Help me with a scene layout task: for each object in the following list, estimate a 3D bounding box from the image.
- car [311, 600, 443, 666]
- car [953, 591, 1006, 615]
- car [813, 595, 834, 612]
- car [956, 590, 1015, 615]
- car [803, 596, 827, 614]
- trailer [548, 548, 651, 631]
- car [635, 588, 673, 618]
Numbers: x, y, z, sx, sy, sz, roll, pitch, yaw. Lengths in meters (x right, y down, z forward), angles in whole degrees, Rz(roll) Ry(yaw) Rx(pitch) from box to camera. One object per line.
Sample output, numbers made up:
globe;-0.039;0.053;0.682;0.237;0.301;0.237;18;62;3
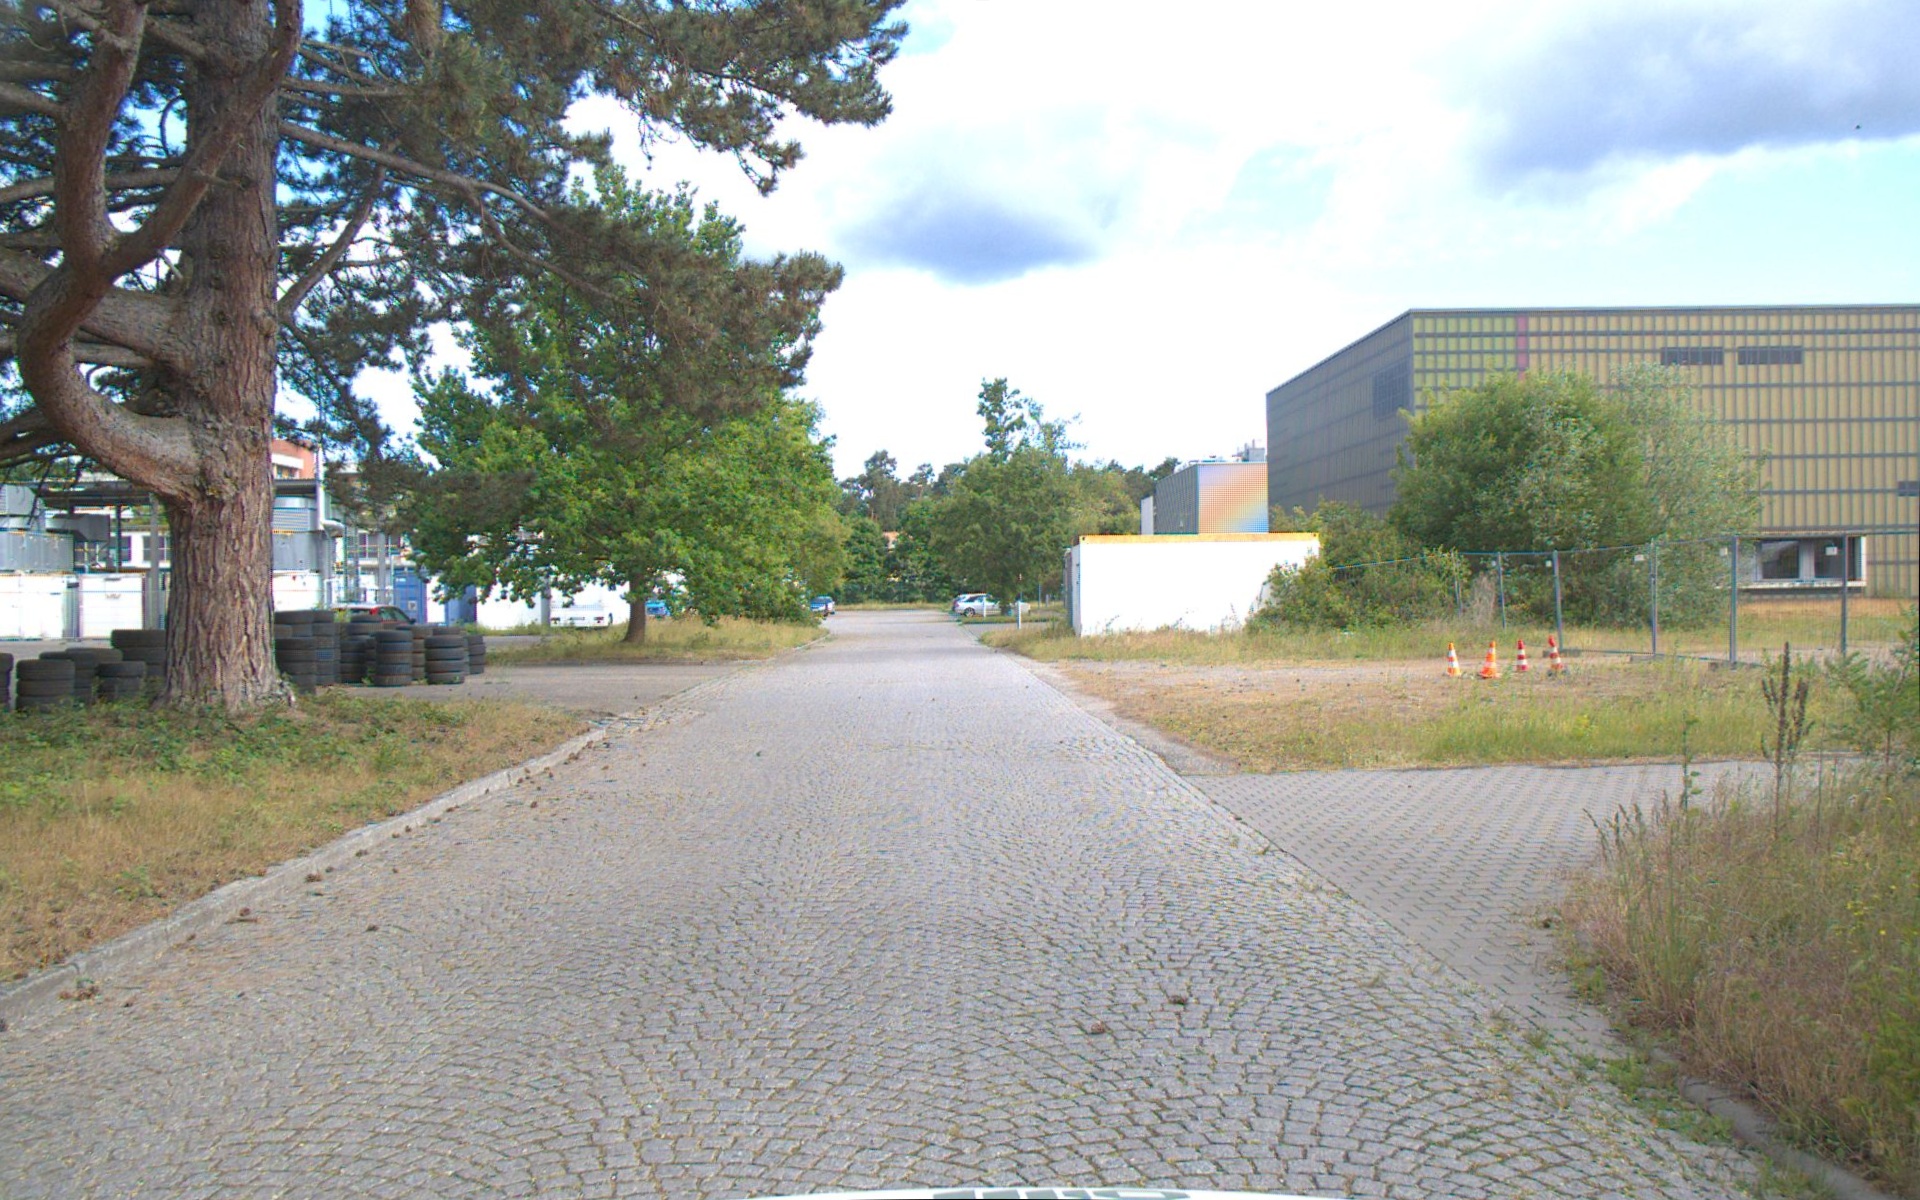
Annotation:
car;-14.454;0.786;41.221;1.591;1.458;4.066;-1;1;4
car;1.282;0.189;110.051;3.451;1.386;1.622;-3;0;-1
car;-11.678;0.285;141.532;1.614;1.484;3.996;-1;0;-2
car;1.736;0.154;112.761;3.904;1.473;1.653;-3;0;-1
car;-11.483;0.389;131.193;1.614;1.393;3.996;-1;0;-2
trailer;-17.125;-0.494;79.303;2.571;3.661;10.177;-1;0;1
car;-21.952;0.204;118.816;1.953;2.049;4.766;-1;0;-1
